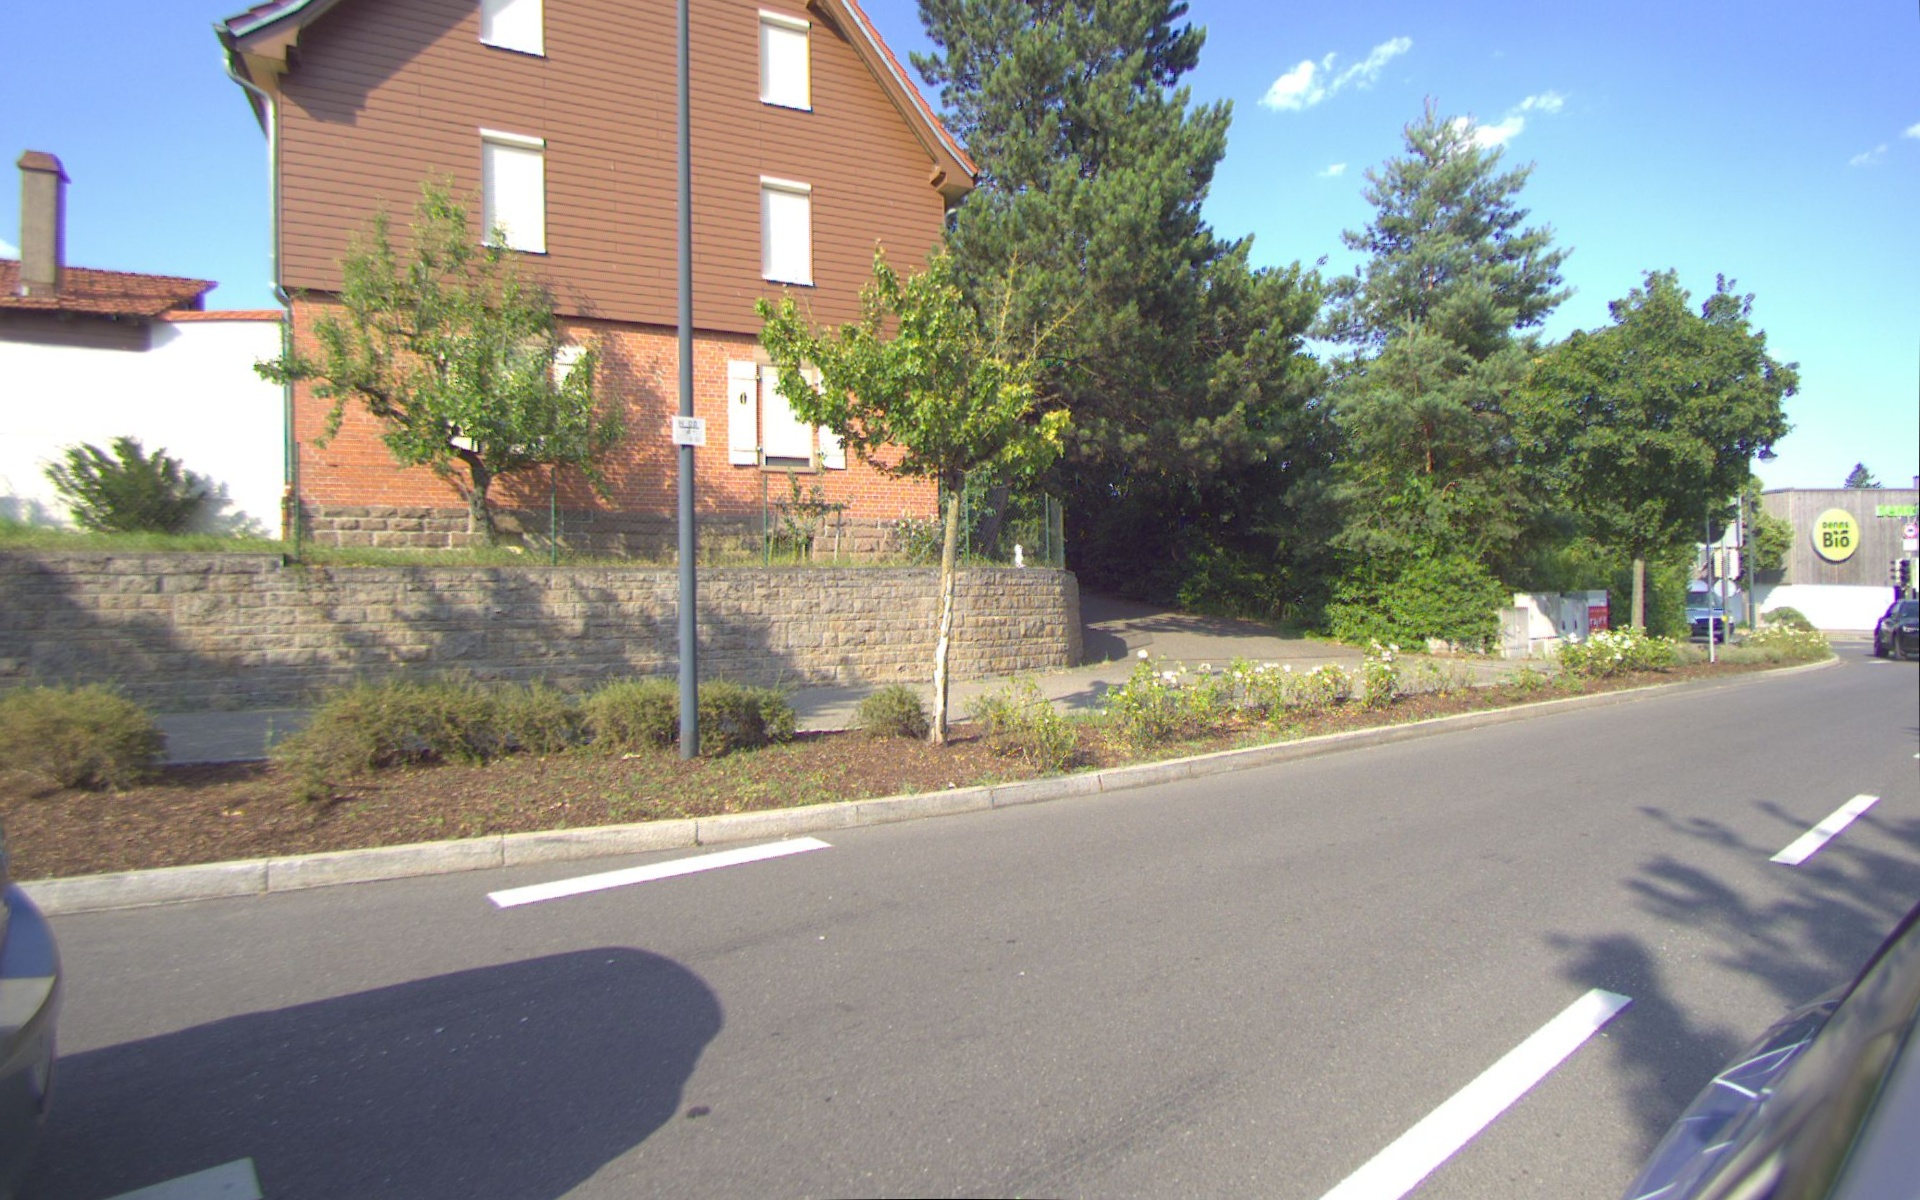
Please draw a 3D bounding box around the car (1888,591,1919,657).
[{"bbox_3d":[25.964,0.599,26.668,1.877,1.629,4.071,0,1,38],"label":"car"}]

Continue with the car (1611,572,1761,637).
[{"bbox_3d":[30.992,0.149,43.534,2.330,2.579,6.186,0,1,4],"label":"car"}]

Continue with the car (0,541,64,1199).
[{"bbox_3d":[-3.488,0.660,0.806,4.094,1.460,1.747,-1,1,-40],"label":"car"}]
